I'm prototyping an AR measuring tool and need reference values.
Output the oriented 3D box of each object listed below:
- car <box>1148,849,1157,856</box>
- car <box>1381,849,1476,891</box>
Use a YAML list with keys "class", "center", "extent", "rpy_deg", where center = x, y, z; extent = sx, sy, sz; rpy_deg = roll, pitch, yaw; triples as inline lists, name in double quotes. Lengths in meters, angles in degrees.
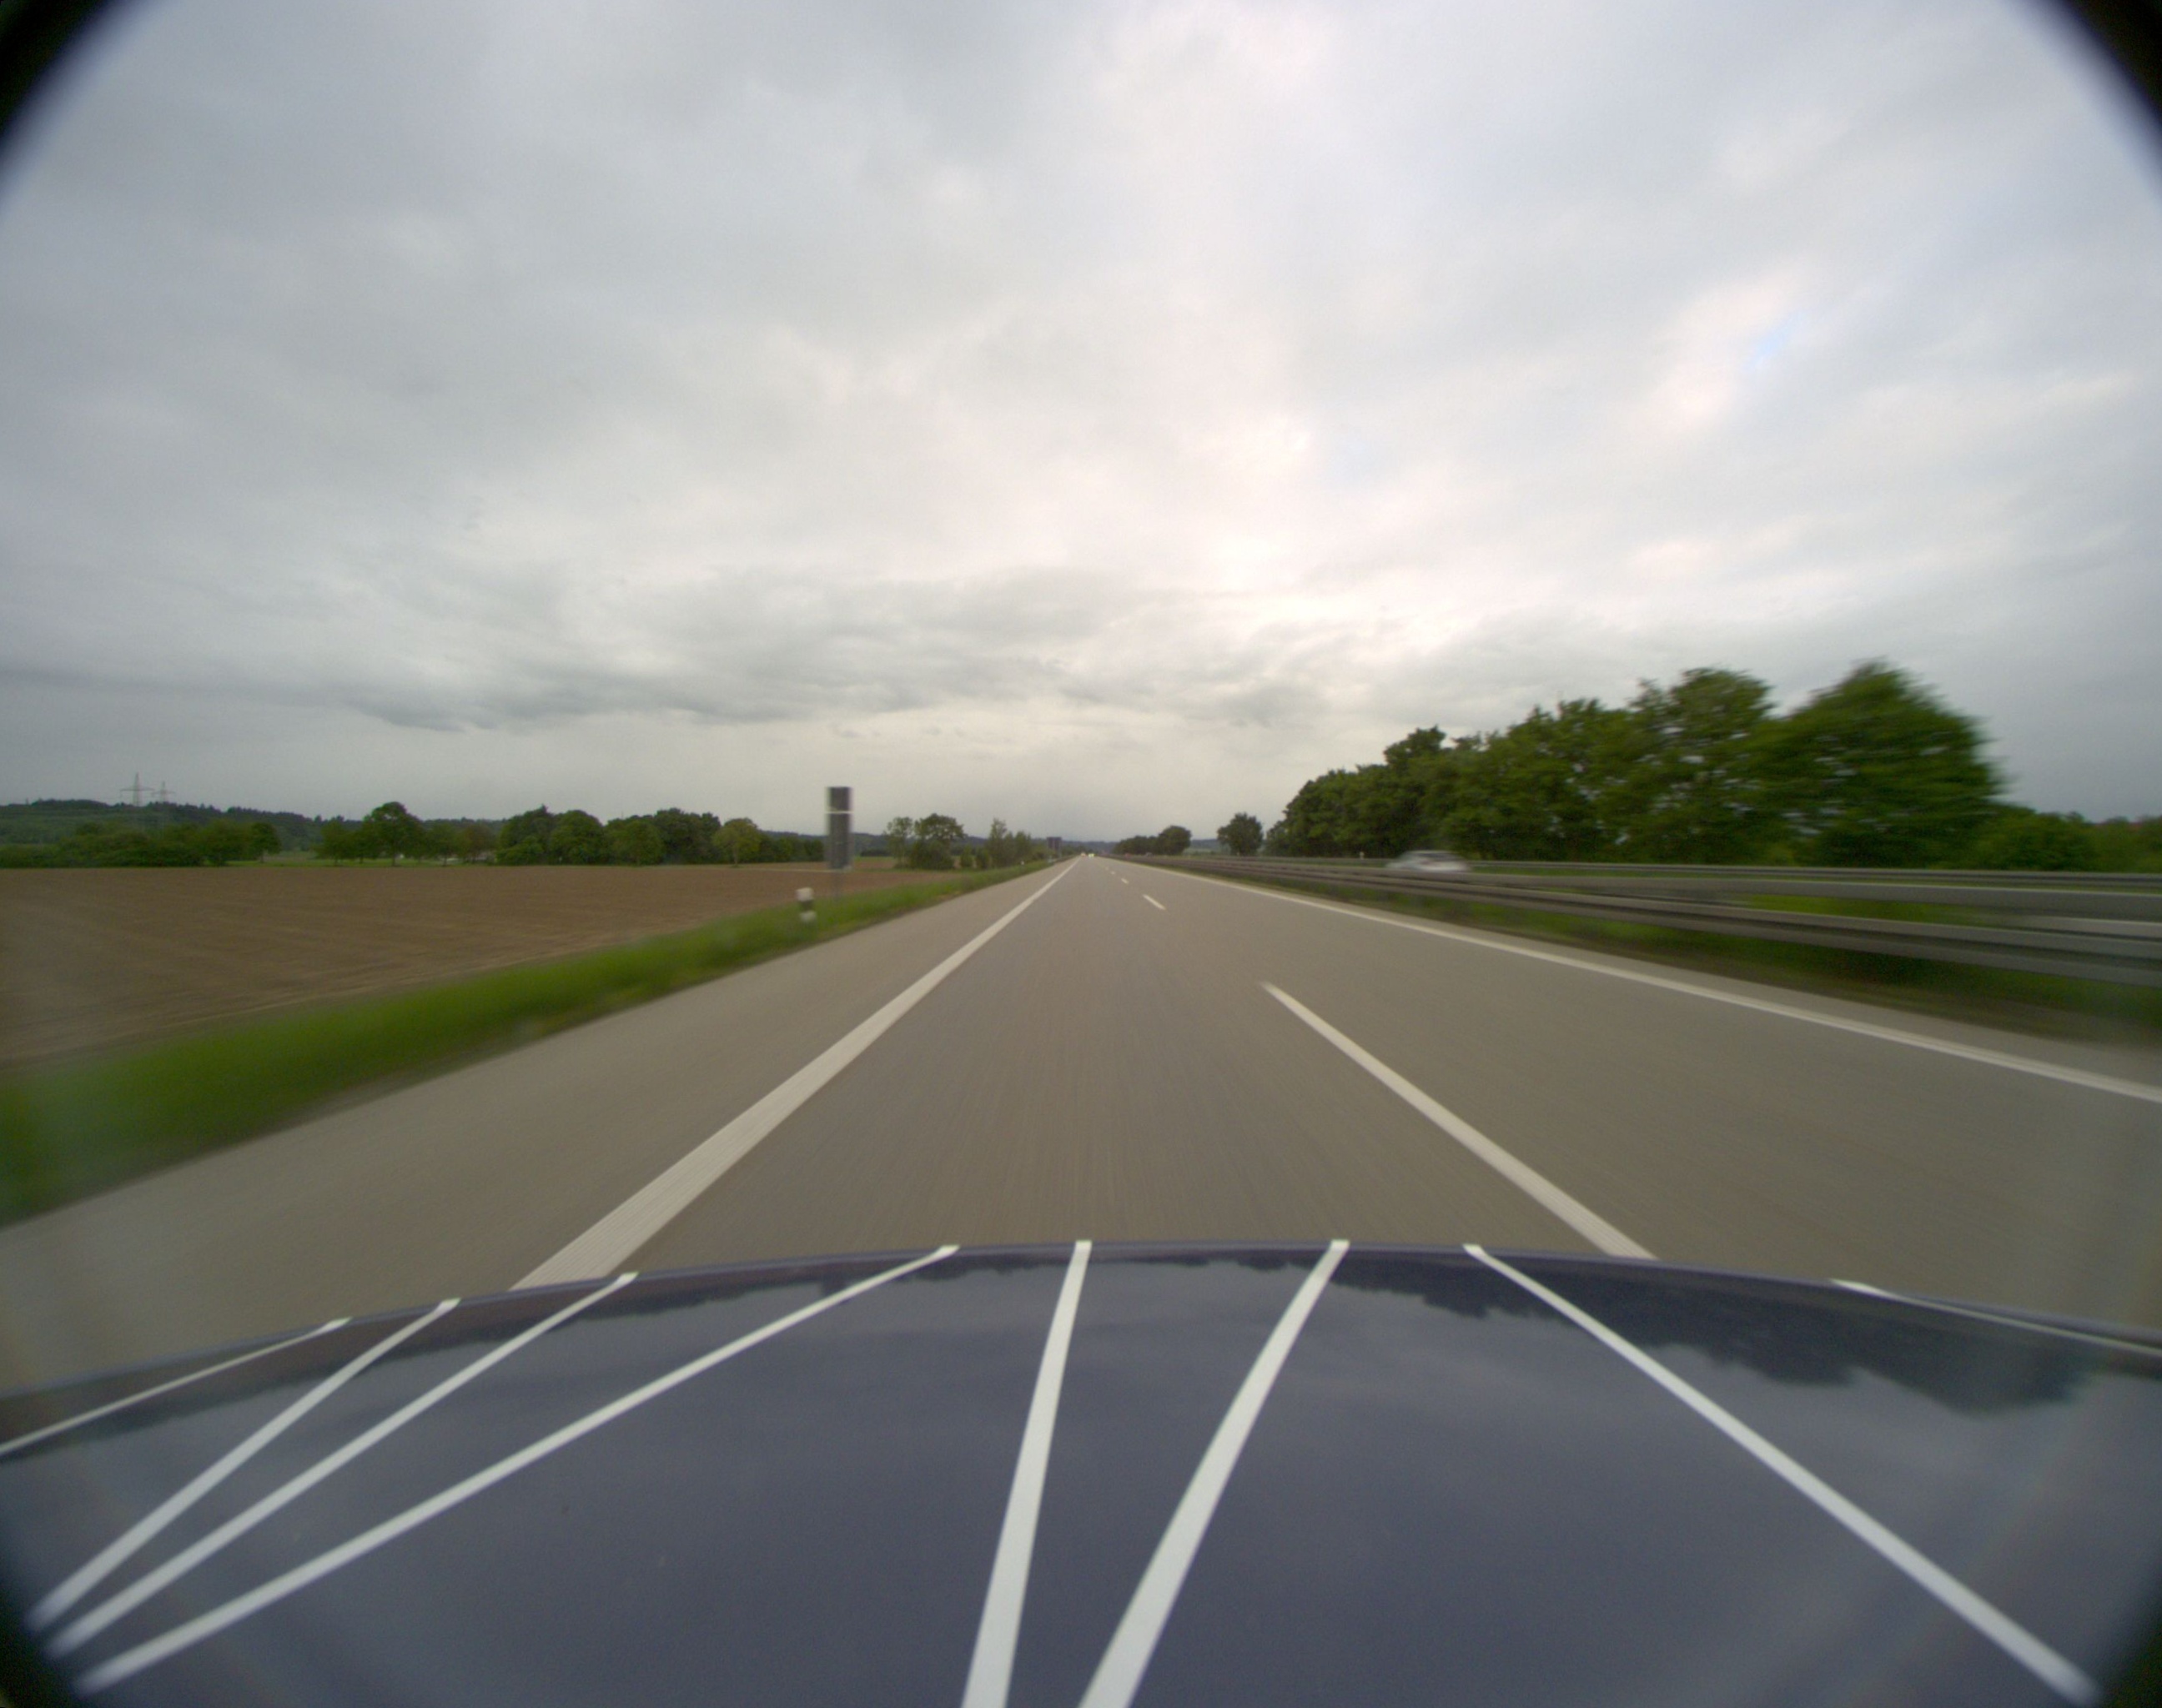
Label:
- class: "car"
  center: [18.872, -0.453, 200.432]
  extent: [1.998, 1.573, 4.808]
  rpy_deg: [-2, 1, 1]
- class: "car"
  center: [14.267, 0.598, 31.533]
  extent: [1.745, 1.565, 4.856]
  rpy_deg: [-2, 1, 1]
